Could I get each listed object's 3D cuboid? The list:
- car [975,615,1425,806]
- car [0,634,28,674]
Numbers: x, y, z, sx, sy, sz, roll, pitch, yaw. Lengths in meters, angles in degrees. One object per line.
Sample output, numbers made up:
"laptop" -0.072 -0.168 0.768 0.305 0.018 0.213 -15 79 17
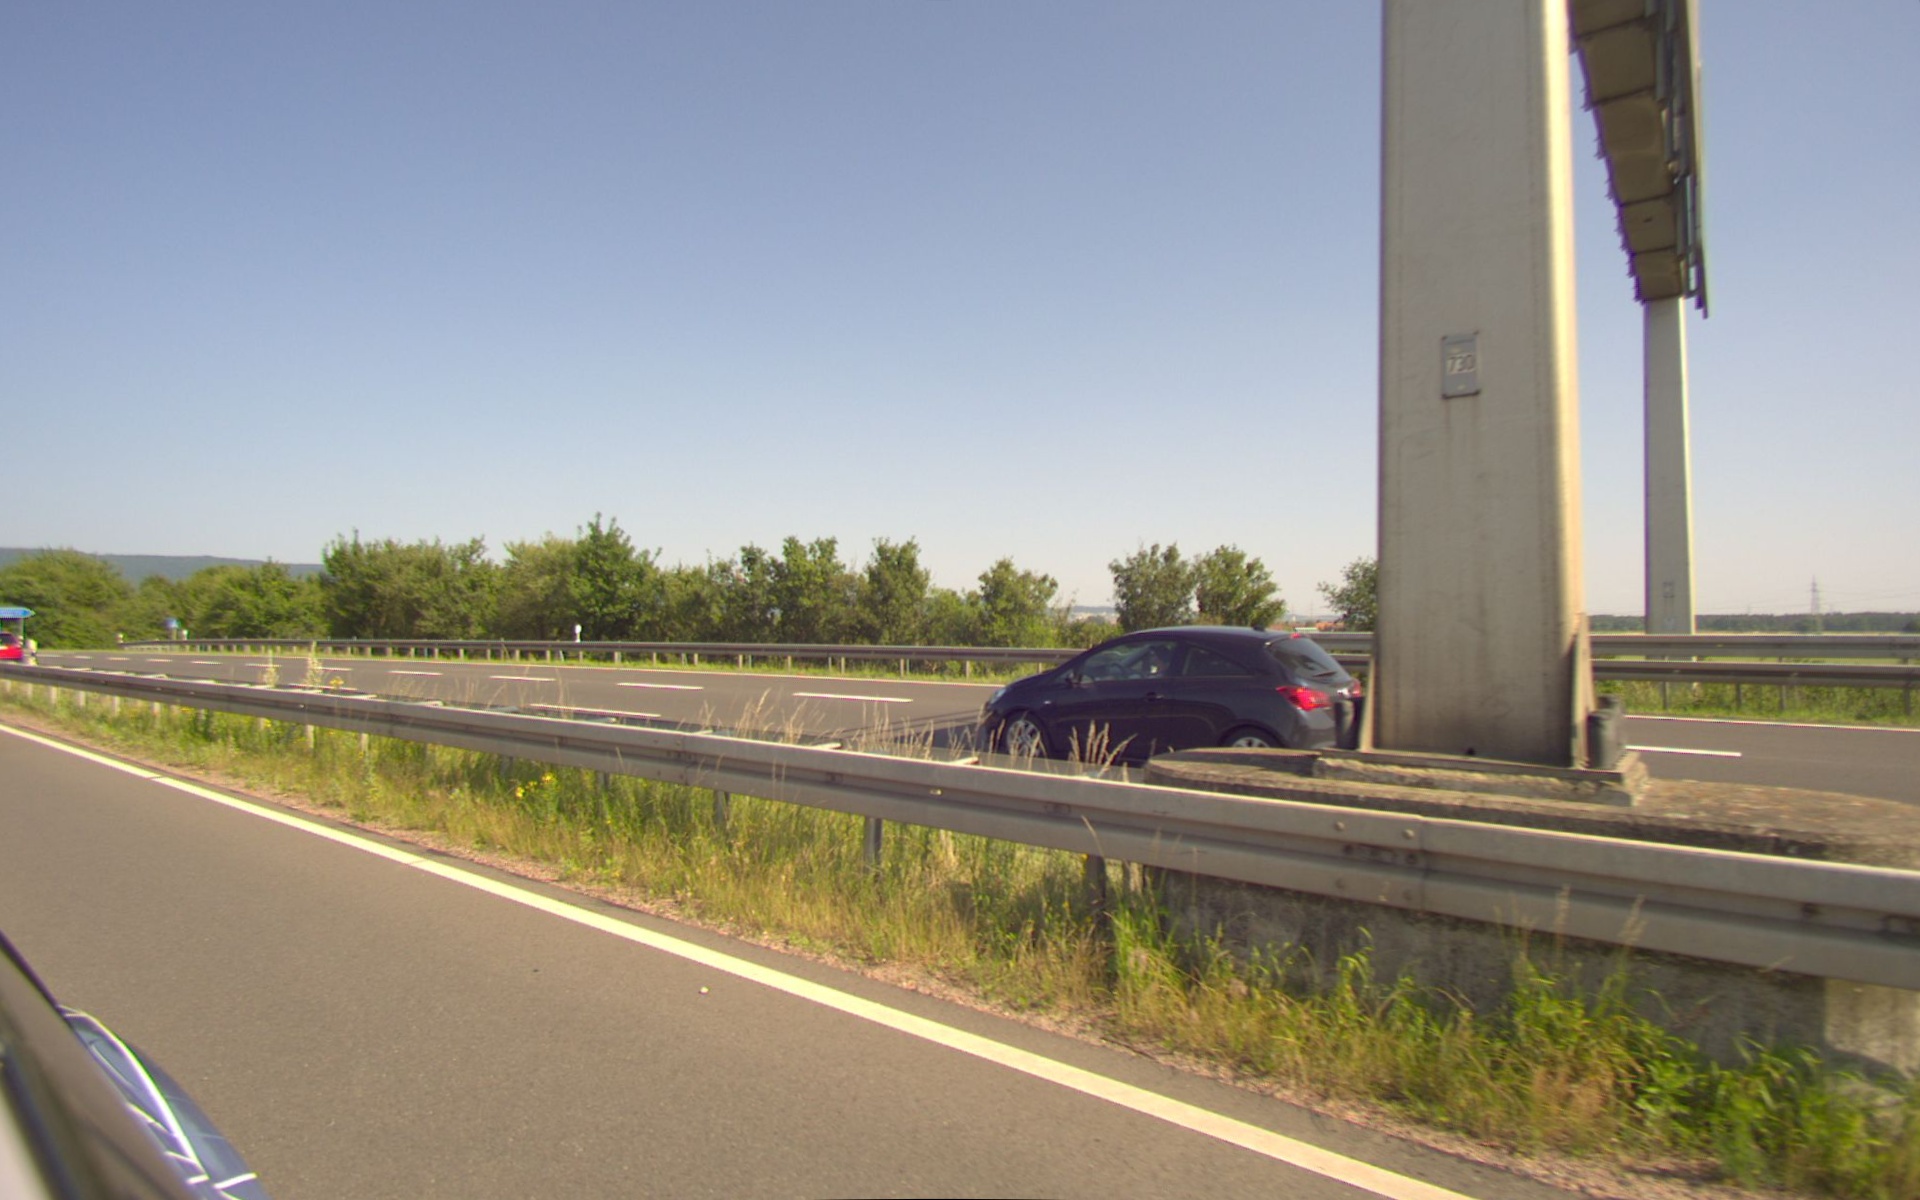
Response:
"car" 2.261 0.938 10.107 3.997 1.485 1.777 -1 0 40
"car" -38.526 2.131 40.057 4.259 1.497 1.694 -1 0 38
